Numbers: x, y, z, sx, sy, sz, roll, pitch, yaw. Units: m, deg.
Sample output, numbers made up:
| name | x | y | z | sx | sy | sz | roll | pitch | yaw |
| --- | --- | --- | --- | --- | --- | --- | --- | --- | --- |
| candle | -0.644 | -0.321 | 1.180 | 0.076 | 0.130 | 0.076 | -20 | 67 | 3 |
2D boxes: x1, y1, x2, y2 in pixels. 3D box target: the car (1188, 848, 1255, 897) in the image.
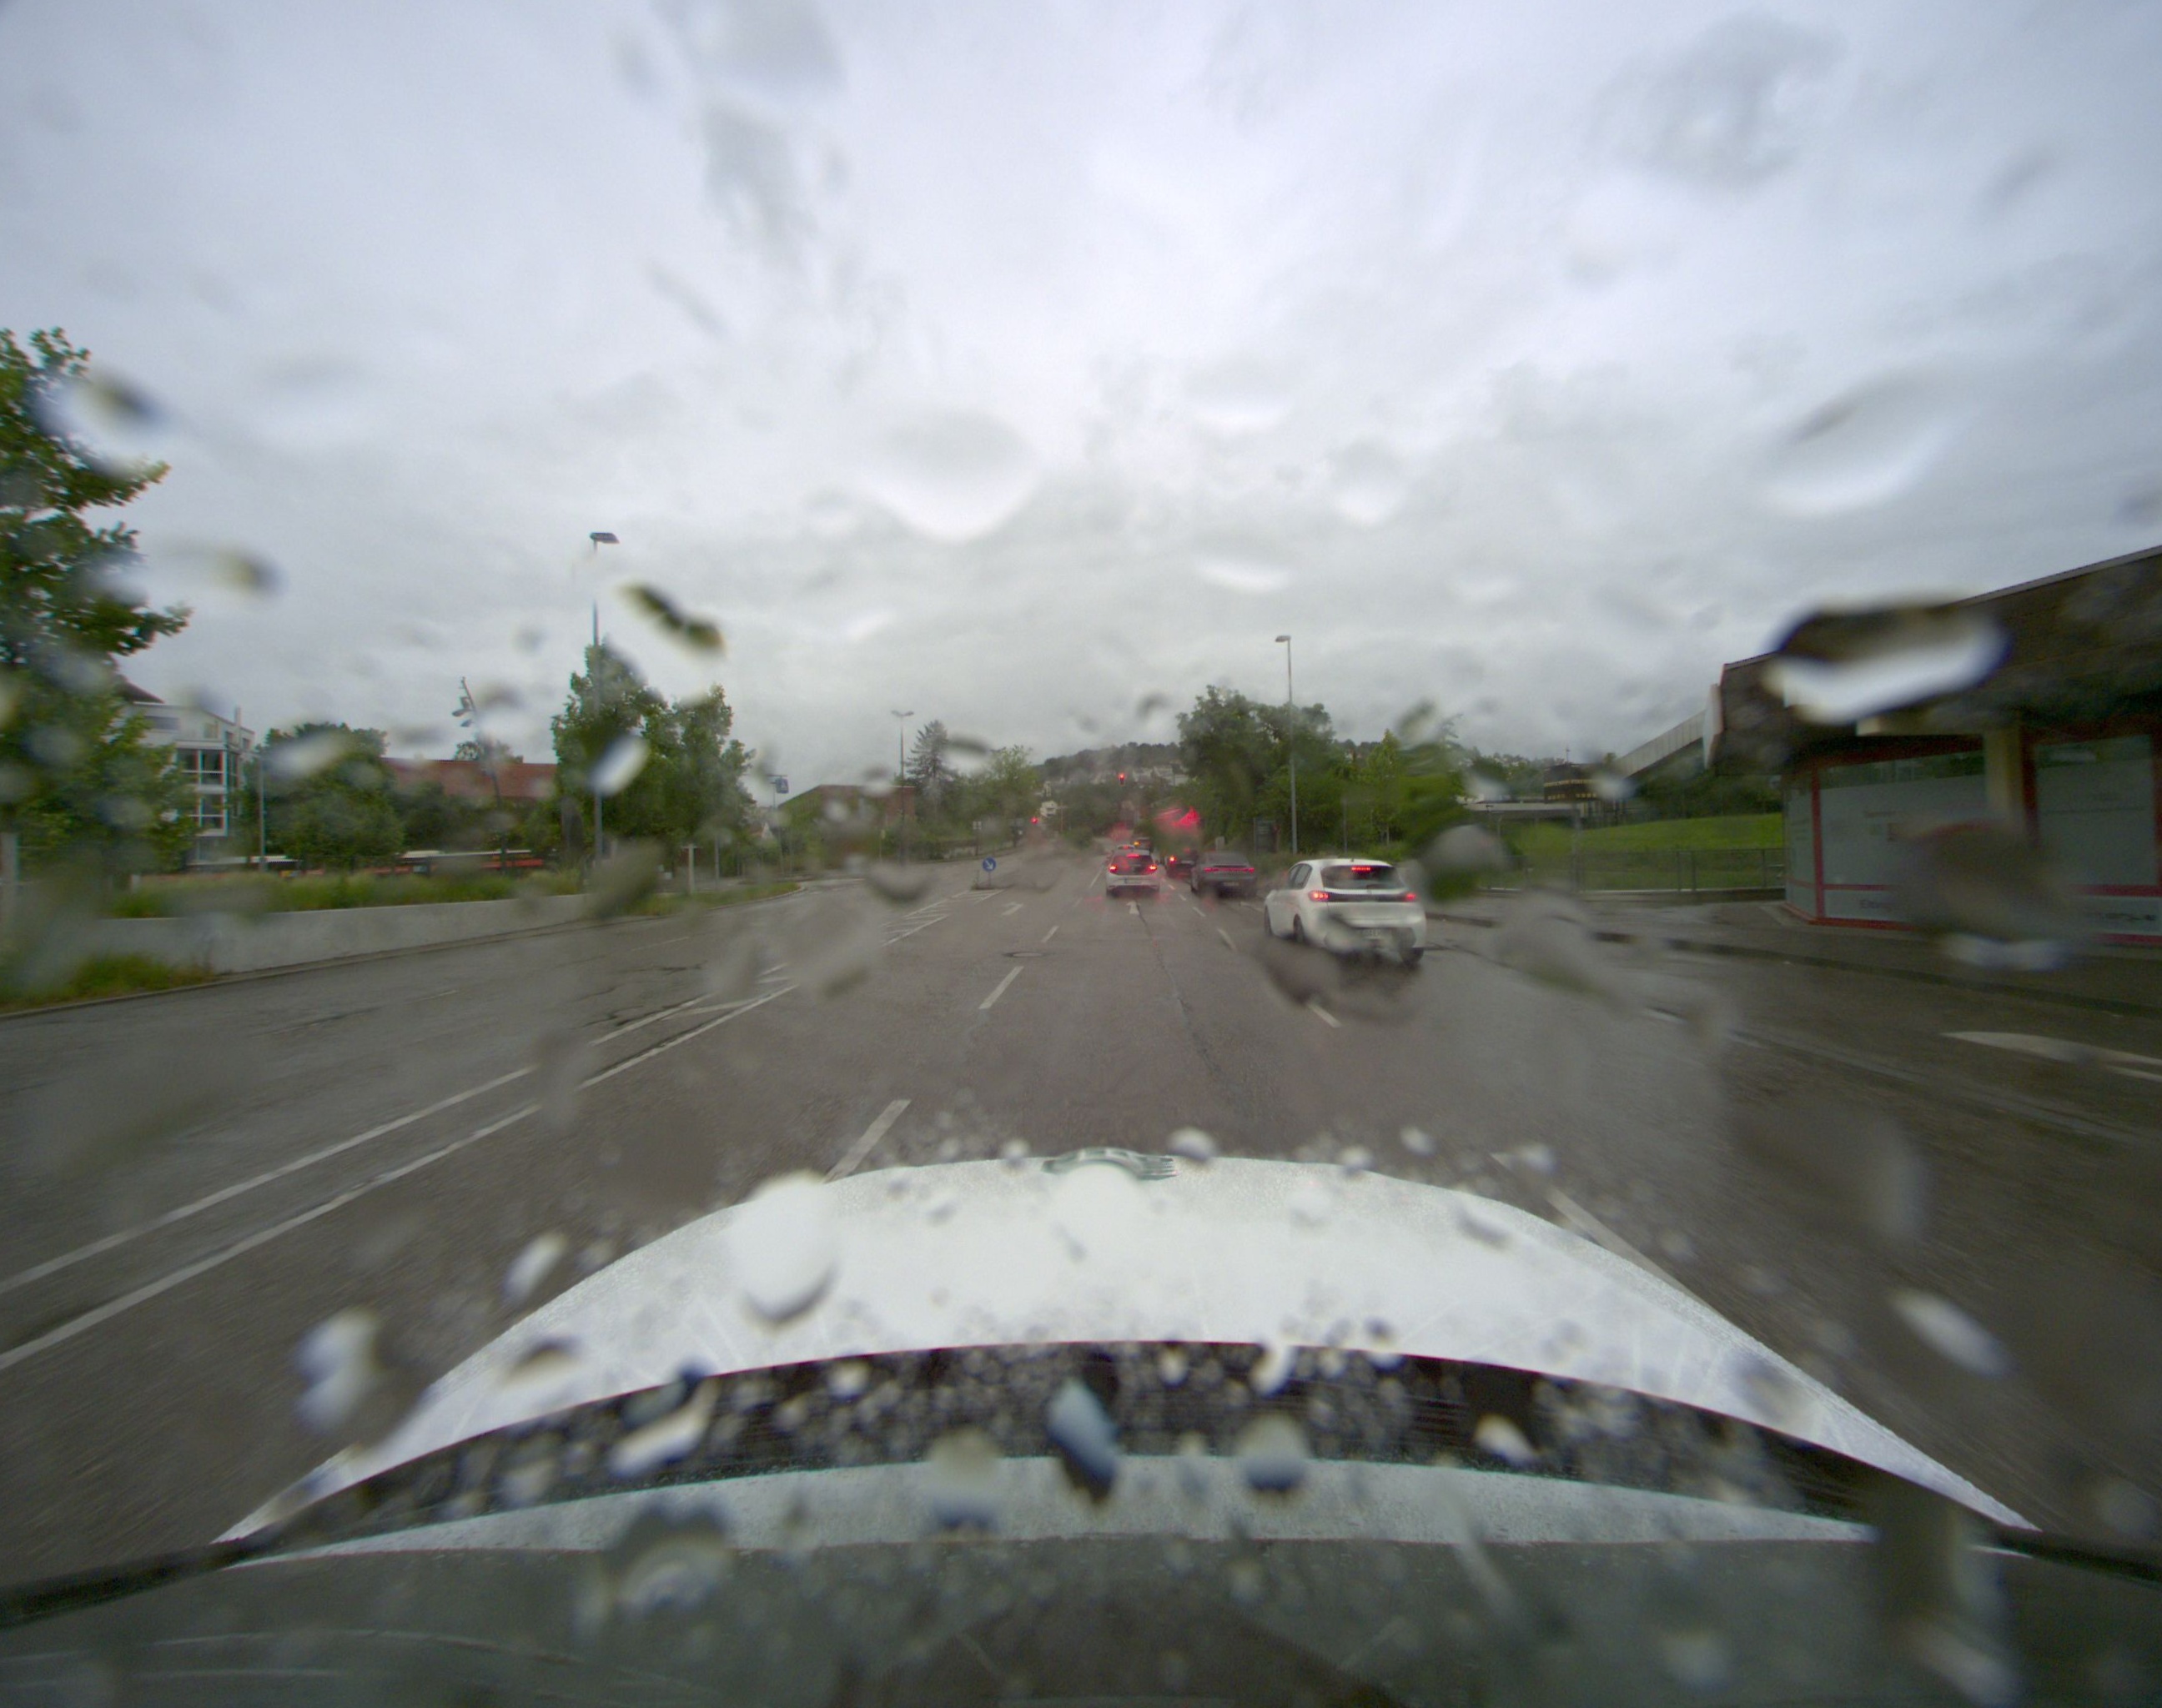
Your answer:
| name | x | y | z | sx | sy | sz | roll | pitch | yaw |
| --- | --- | --- | --- | --- | --- | --- | --- | --- | --- |
| car | 4.680 | 0.573 | 27.447 | 1.728 | 1.387 | 3.353 | 0 | 3 | 1 |

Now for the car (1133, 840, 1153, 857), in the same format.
| name | x | y | z | sx | sy | sz | roll | pitch | yaw |
| --- | --- | --- | --- | --- | --- | --- | --- | --- | --- |
| car | 6.418 | -0.547 | 84.594 | 1.789 | 1.569 | 3.524 | -3 | -3 | -1 |

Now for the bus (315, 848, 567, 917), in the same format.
| name | x | y | z | sx | sy | sz | roll | pitch | yaw |
| --- | --- | --- | --- | --- | --- | --- | --- | --- | --- |
| bus | -34.508 | 1.511 | 44.628 | 10.433 | 3.281 | 2.836 | -1 | -3 | -27 |

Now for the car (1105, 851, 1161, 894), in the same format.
| name | x | y | z | sx | sy | sz | roll | pitch | yaw |
| --- | --- | --- | --- | --- | --- | --- | --- | --- | --- |
| car | 1.739 | 0.622 | 27.740 | 1.734 | 1.296 | 3.335 | -3 | -2 | 2 |

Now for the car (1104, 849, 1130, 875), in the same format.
| name | x | y | z | sx | sy | sz | roll | pitch | yaw |
| --- | --- | --- | --- | --- | --- | --- | --- | --- | --- |
| car | 1.769 | 0.399 | 40.544 | 1.208 | 1.156 | 2.270 | -2 | -3 | 1 |

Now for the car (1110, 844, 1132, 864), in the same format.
| name | x | y | z | sx | sy | sz | roll | pitch | yaw |
| --- | --- | --- | --- | --- | --- | --- | --- | --- | --- |
| car | 2.695 | 0.022 | 55.030 | 1.379 | 1.126 | 2.612 | -3 | -3 | 4 |

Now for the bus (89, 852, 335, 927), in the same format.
| name | x | y | z | sx | sy | sz | roll | pitch | yaw |
| --- | --- | --- | --- | --- | --- | --- | --- | --- | --- |
| bus | -42.721 | 1.699 | 40.480 | 7.864 | 3.281 | 2.715 | -1 | -3 | -30 |

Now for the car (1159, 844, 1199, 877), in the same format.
| name | x | y | z | sx | sy | sz | roll | pitch | yaw |
| --- | --- | --- | --- | --- | --- | --- | --- | --- | --- |
| car | 4.982 | 0.378 | 41.751 | 1.642 | 1.485 | 3.366 | -3 | -3 | 1 |

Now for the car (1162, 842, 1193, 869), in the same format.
| name | x | y | z | sx | sy | sz | roll | pitch | yaw |
| --- | --- | --- | --- | --- | --- | --- | --- | --- | --- |
| car | 5.906 | 0.137 | 50.157 | 1.558 | 1.397 | 3.960 | -3 | -3 | 3 |

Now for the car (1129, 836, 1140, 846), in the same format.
| name | x | y | z | sx | sy | sz | roll | pitch | yaw |
| --- | --- | --- | --- | --- | --- | --- | --- | --- | --- |
| car | 7.343 | -1.799 | 112.599 | 1.362 | 1.157 | 2.426 | -2 | -2 | 0 |

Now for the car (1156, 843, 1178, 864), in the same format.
| name | x | y | z | sx | sy | sz | roll | pitch | yaw |
| --- | --- | --- | --- | --- | --- | --- | --- | --- | --- |
| car | 6.139 | -0.035 | 58.384 | 1.310 | 1.397 | 3.081 | -3 | 1 | 3 |

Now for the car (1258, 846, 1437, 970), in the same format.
| name | x | y | z | sx | sy | sz | roll | pitch | yaw |
| --- | --- | --- | --- | --- | --- | --- | --- | --- | --- |
| car | 3.948 | 0.700 | 12.733 | 1.684 | 1.519 | 3.937 | -1 | 2 | 3 |
